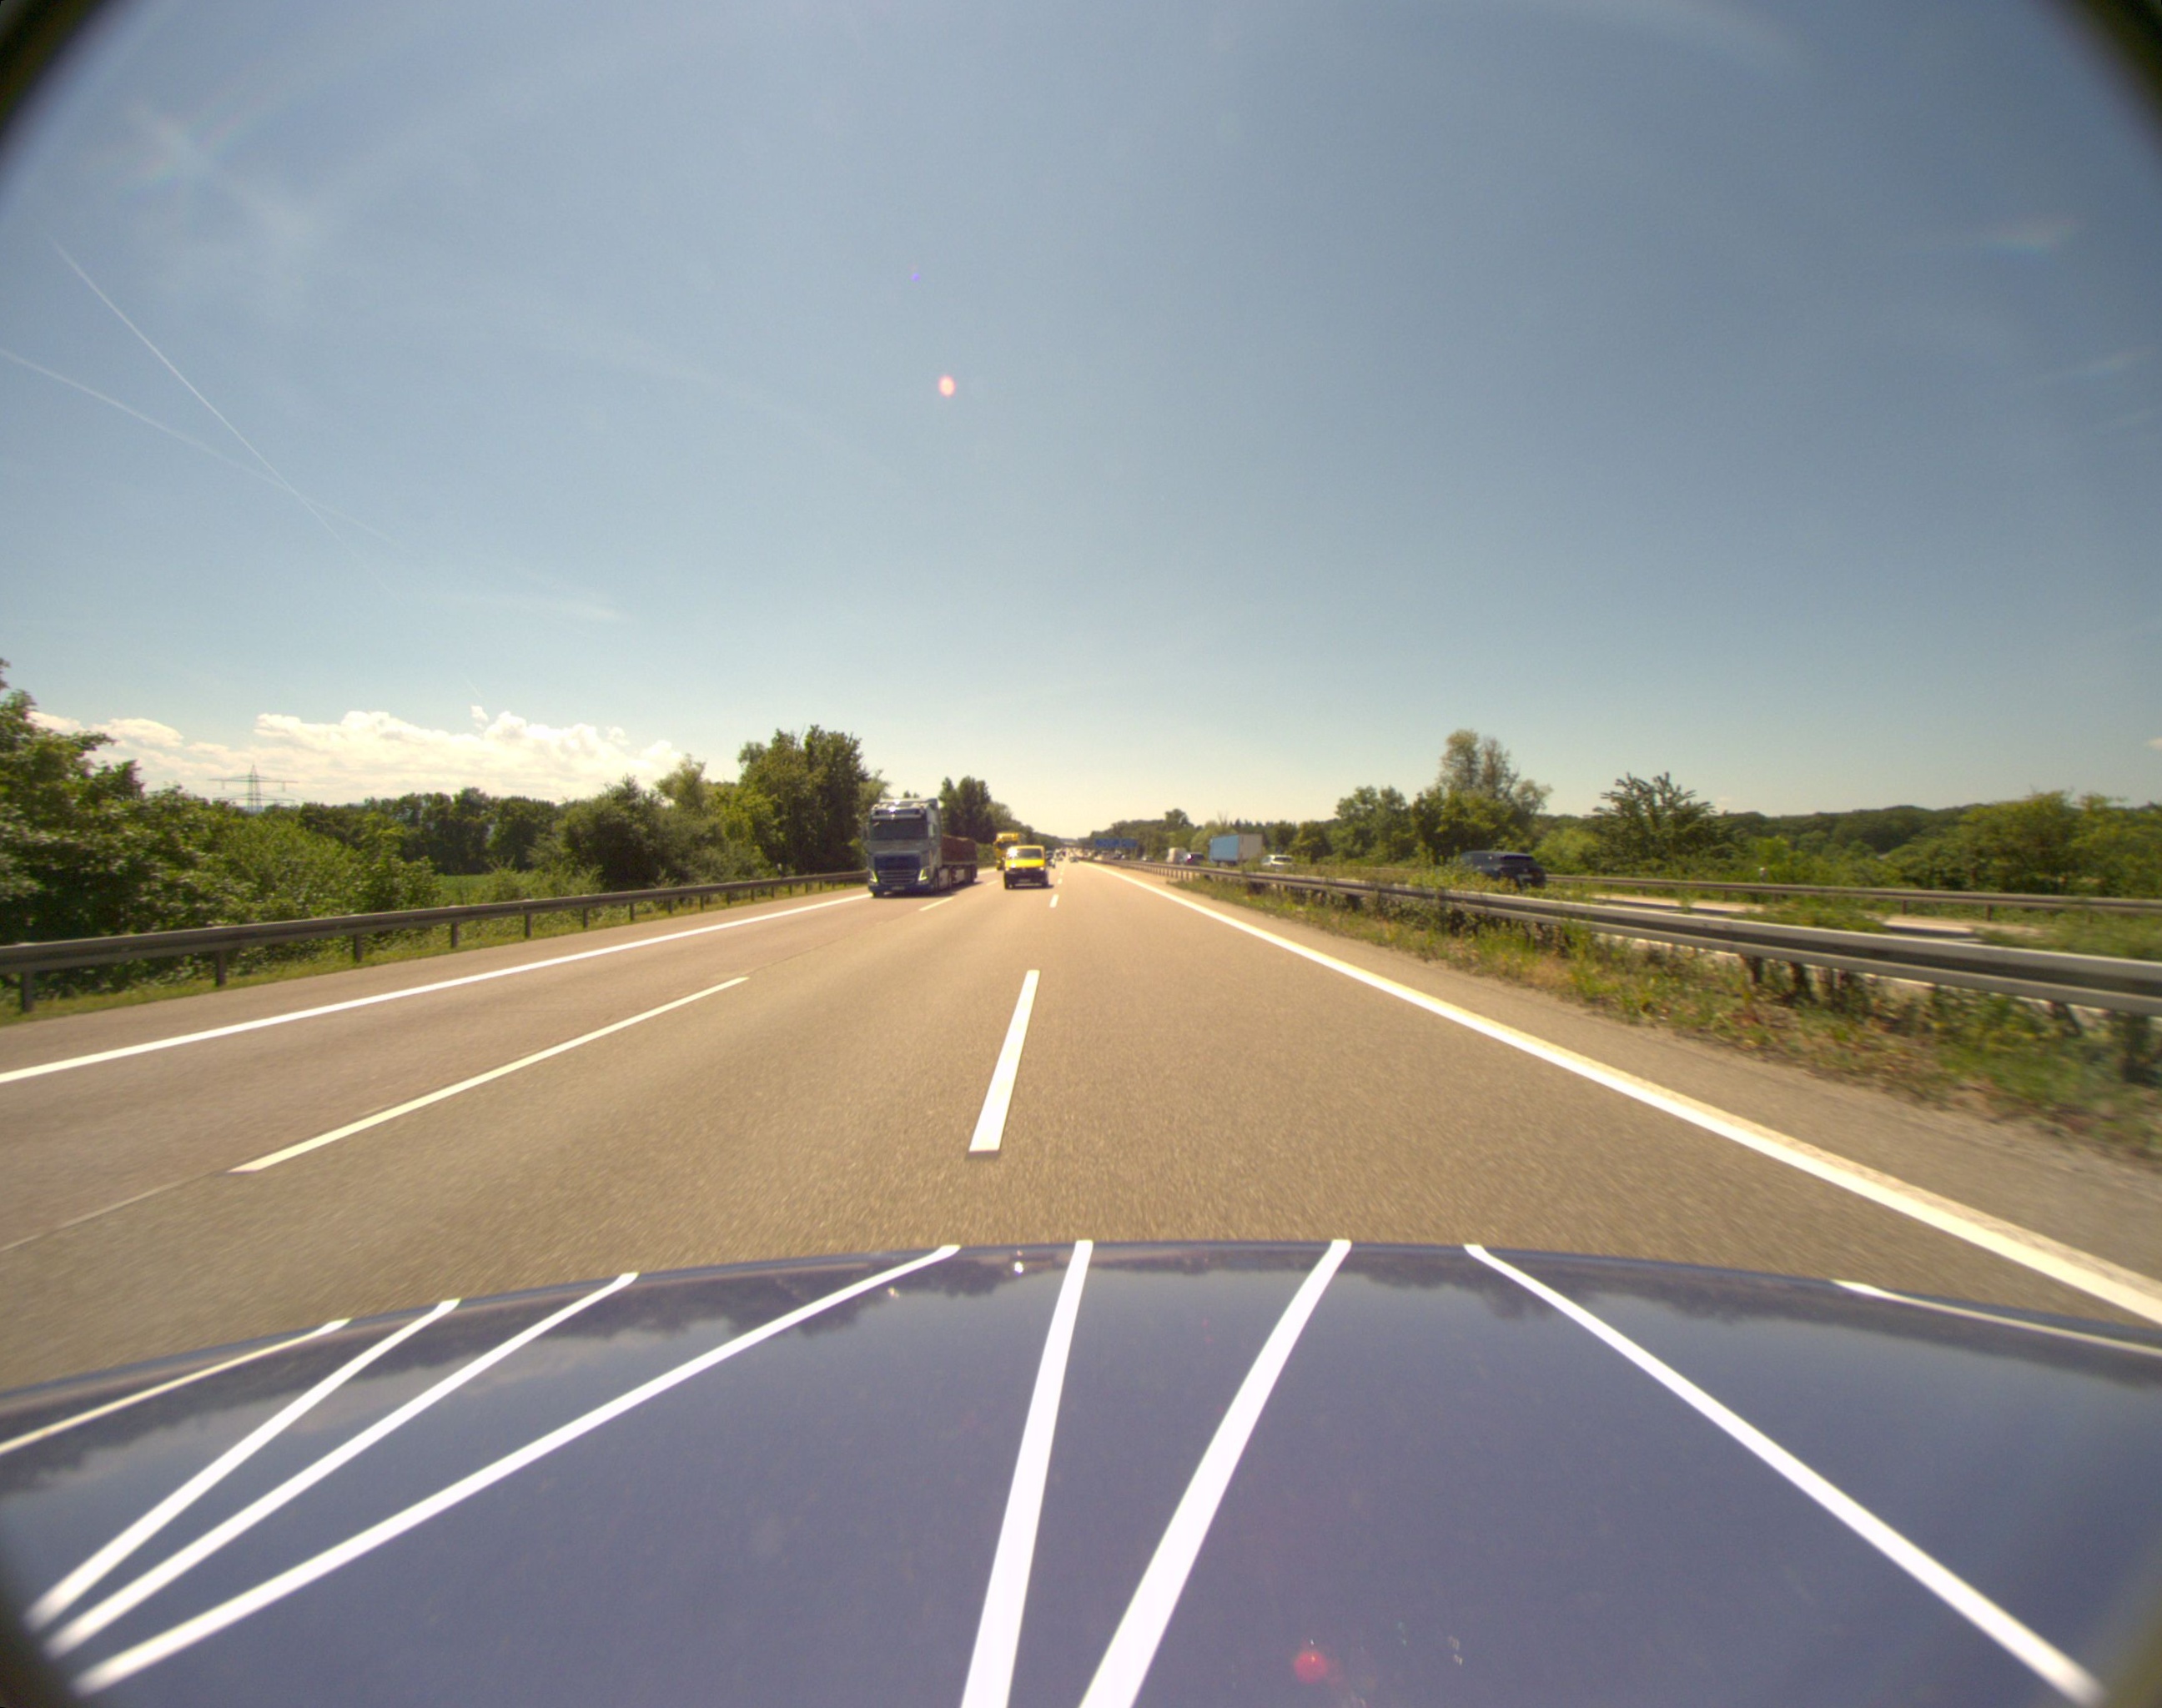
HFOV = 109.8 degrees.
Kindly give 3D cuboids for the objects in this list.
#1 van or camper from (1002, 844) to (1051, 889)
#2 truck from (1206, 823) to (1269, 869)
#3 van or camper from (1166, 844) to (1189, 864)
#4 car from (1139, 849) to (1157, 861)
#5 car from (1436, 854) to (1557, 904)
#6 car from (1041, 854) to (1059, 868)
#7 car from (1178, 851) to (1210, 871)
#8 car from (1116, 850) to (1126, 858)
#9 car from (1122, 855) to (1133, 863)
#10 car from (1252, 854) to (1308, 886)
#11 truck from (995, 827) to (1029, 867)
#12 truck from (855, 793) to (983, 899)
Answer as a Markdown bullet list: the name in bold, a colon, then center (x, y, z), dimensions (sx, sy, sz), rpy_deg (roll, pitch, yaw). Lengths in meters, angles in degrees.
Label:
- **van or camper**: center (-2.475, 0.547, 35.641), dimensions (1.999, 1.898, 4.970), rpy_deg (-2, 0, -1)
- **truck**: center (17.728, -0.870, 87.613), dimensions (3.234, 4.693, 16.855), rpy_deg (2, 0, -1)
- **van or camper**: center (13.093, 0.022, 103.642), dimensions (1.999, 2.551, 7.033), rpy_deg (2, 0, -2)
- **car**: center (9.438, 0.097, 106.926), dimensions (1.999, 1.680, 4.407), rpy_deg (1, 0, -1)
- **car**: center (14.414, 0.811, 26.656), dimensions (1.999, 1.608, 3.999), rpy_deg (0, 0, -1)
- **car**: center (-3.631, 0.789, 89.499), dimensions (1.845, 1.565, 3.999), rpy_deg (-1, 1, 0)
- **car**: center (9.947, 0.575, 66.995), dimensions (1.999, 1.720, 5.107), rpy_deg (0, 0, -1)
- **car**: center (9.449, -0.026, 181.038), dimensions (1.999, 1.595, 4.599), rpy_deg (-6, 0, -1)
- **car**: center (9.229, 1.013, 151.319), dimensions (1.999, 1.680, 4.407), rpy_deg (0, 0, -1)
- **car**: center (11.041, 0.846, 42.374), dimensions (1.999, 1.720, 4.092), rpy_deg (0, 0, -1)
- **truck**: center (-7.996, -0.823, 90.366), dimensions (2.853, 4.233, 16.786), rpy_deg (0, 1, -1)
- **truck**: center (-7.200, -0.366, 37.145), dimensions (2.977, 3.934, 16.608), rpy_deg (-2, 1, -1)
